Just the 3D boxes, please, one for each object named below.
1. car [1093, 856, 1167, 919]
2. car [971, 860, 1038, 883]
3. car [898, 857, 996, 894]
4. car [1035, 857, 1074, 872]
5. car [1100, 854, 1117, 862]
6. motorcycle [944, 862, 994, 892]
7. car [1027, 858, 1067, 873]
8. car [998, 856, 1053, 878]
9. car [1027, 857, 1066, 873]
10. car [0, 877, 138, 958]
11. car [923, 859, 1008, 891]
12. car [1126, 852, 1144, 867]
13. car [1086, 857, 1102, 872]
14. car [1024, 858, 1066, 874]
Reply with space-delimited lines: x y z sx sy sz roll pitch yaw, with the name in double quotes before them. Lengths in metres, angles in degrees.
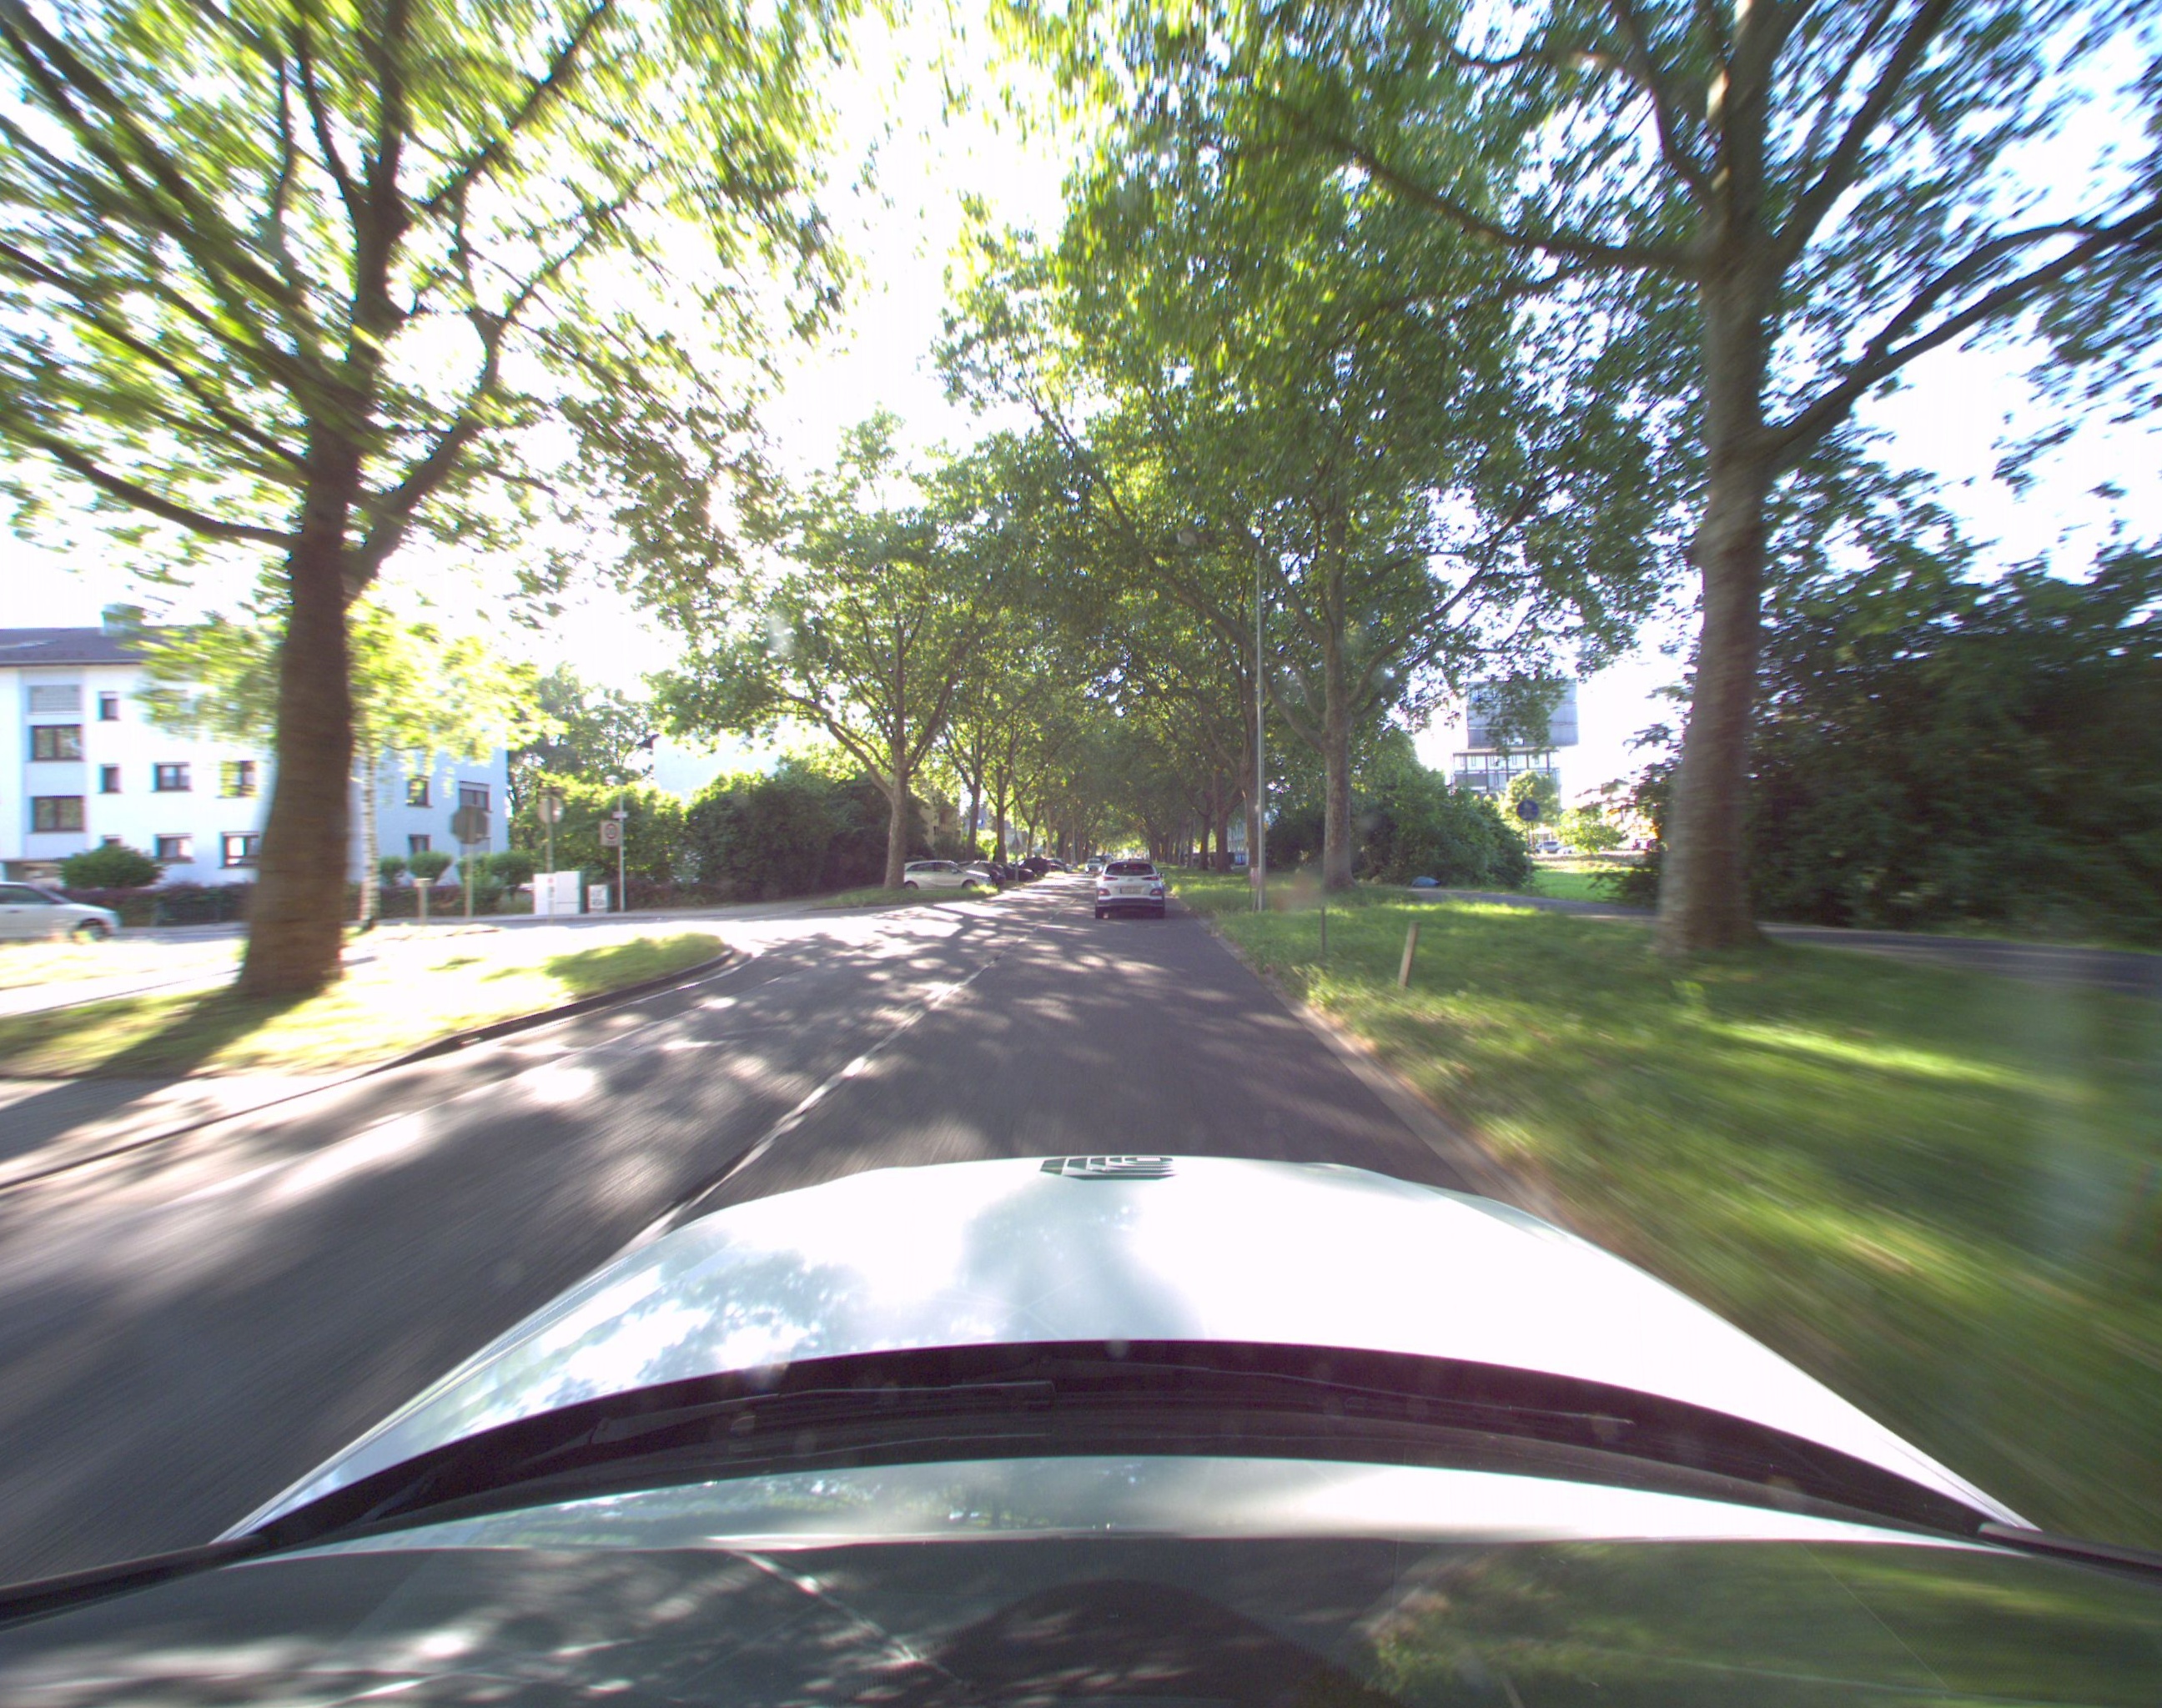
"car" 1.296 0.845 22.475 1.828 1.555 4.002 -1 0 2
"car" -5.072 1.176 54.370 4.225 1.353 1.742 -2 -1 1
"car" -6.127 0.988 37.657 4.171 1.584 1.999 -1 -1 -2
"car" -2.869 1.137 87.599 3.968 1.470 1.811 -1 0 4
"car" 6.517 1.016 194.173 3.976 1.772 1.999 -1 -1 -2
"motorcycle" -5.496 1.117 40.053 2.379 1.388 0.648 -2 0 -3
"car" -3.400 1.178 82.093 3.975 1.424 1.808 -1 0 -1
"car" -4.513 1.023 66.451 4.226 1.680 1.672 -1 0 3
"car" -3.576 1.163 85.246 3.971 1.520 1.810 -1 0 2
"car" -22.714 1.312 16.755 1.987 1.575 3.998 -1 0 -1
"car" -5.995 1.085 42.702 4.147 1.506 1.801 -2 0 -1
"car" 6.317 0.669 95.587 1.671 1.696 3.743 -1 0 -1
"car" 1.334 1.084 82.089 1.530 1.459 3.186 -1 0 1
"car" -3.493 1.174 79.899 3.971 1.470 1.781 -1 0 2
